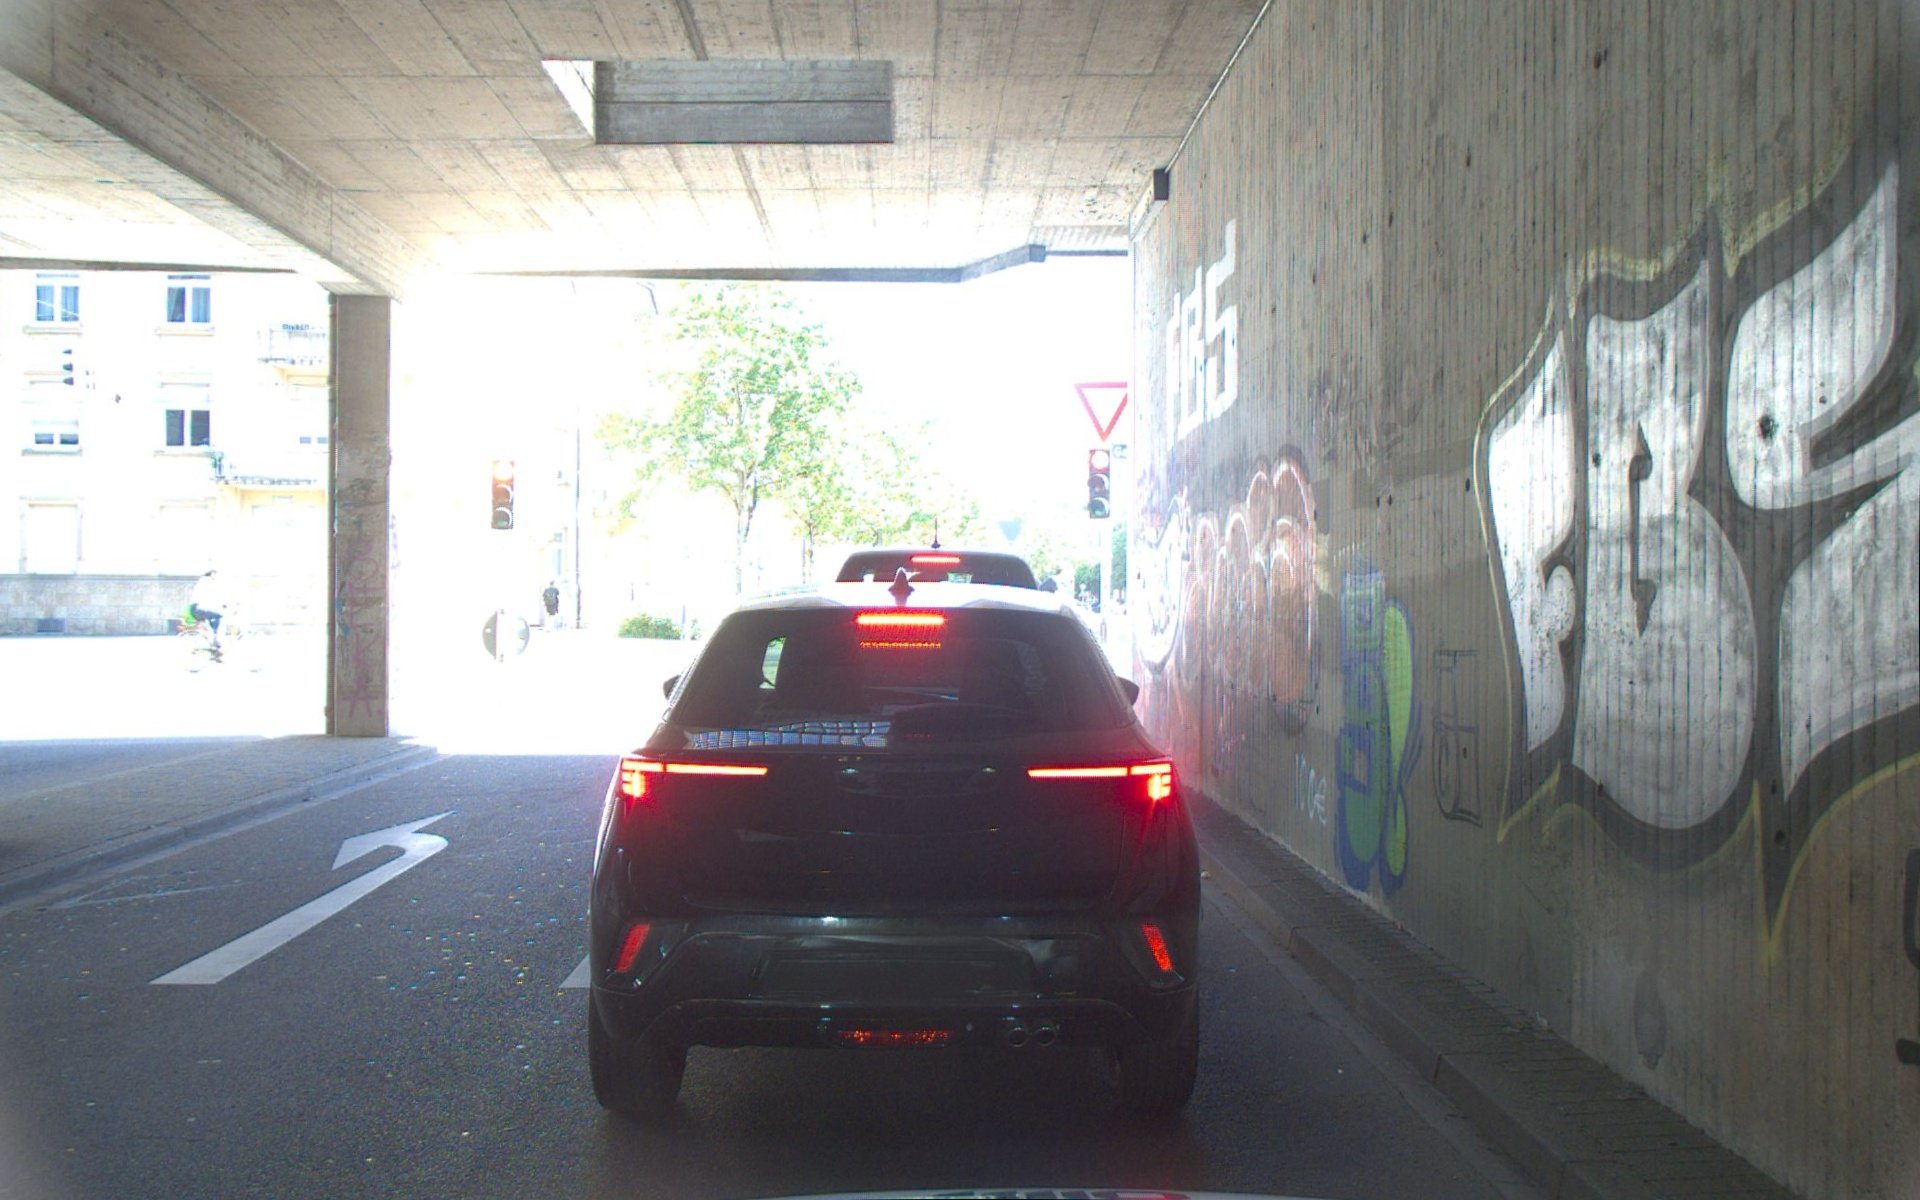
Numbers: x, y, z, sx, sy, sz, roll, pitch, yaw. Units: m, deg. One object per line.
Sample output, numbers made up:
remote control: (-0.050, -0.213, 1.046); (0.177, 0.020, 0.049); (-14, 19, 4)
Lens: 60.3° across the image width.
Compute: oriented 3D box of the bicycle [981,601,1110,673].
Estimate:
bicycle: (1.331, 0.565, 25.557); (1.947, 1.068, 0.719); (-1, -1, 6)

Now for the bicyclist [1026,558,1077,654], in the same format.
bicyclist: (1.424, 0.090, 25.587); (0.722, 1.448, 0.685); (-1, -1, 6)

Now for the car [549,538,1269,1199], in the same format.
car: (-0.150, 0.617, 6.028); (1.729, 1.598, 4.000); (1, 1, -1)

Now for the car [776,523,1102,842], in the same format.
car: (-0.153, 0.482, 11.923); (1.953, 1.904, 3.999); (0, 0, -1)

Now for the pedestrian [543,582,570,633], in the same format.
pedestrian: (-13.359, 0.235, 54.773); (0.658, 1.666, 0.740); (1, -1, -1)

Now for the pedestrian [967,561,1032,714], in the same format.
pedestrian: (0.462, 0.437, 19.638); (0.716, 1.764, 0.874); (1, -1, -1)

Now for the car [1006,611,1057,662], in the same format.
car: (3.005, 1.480, 68.400); (1.951, 2.004, 4.166); (1, 0, 4)

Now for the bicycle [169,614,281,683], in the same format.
bicycle: (-12.666, 0.834, 28.519); (1.704, 1.138, 0.477); (1, -1, 2)
